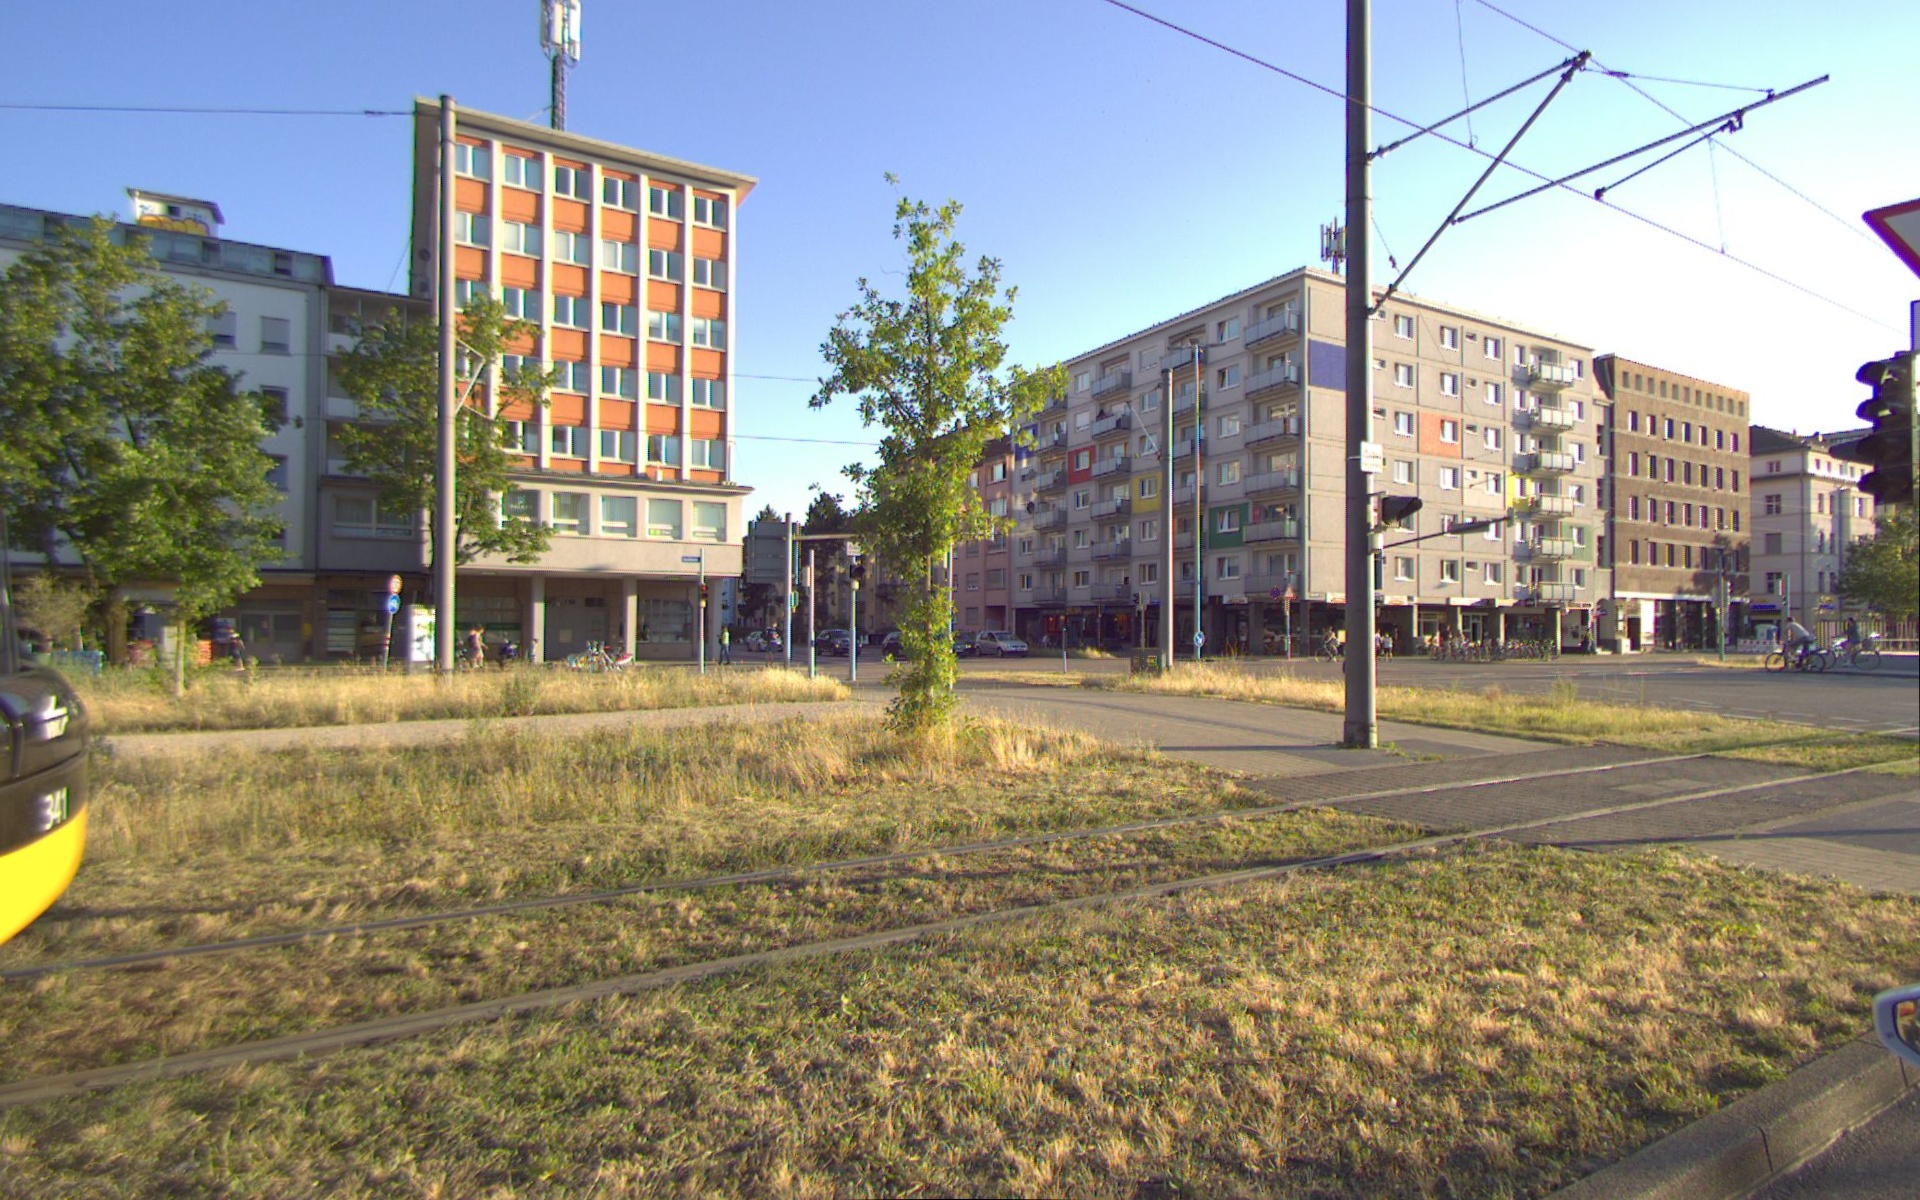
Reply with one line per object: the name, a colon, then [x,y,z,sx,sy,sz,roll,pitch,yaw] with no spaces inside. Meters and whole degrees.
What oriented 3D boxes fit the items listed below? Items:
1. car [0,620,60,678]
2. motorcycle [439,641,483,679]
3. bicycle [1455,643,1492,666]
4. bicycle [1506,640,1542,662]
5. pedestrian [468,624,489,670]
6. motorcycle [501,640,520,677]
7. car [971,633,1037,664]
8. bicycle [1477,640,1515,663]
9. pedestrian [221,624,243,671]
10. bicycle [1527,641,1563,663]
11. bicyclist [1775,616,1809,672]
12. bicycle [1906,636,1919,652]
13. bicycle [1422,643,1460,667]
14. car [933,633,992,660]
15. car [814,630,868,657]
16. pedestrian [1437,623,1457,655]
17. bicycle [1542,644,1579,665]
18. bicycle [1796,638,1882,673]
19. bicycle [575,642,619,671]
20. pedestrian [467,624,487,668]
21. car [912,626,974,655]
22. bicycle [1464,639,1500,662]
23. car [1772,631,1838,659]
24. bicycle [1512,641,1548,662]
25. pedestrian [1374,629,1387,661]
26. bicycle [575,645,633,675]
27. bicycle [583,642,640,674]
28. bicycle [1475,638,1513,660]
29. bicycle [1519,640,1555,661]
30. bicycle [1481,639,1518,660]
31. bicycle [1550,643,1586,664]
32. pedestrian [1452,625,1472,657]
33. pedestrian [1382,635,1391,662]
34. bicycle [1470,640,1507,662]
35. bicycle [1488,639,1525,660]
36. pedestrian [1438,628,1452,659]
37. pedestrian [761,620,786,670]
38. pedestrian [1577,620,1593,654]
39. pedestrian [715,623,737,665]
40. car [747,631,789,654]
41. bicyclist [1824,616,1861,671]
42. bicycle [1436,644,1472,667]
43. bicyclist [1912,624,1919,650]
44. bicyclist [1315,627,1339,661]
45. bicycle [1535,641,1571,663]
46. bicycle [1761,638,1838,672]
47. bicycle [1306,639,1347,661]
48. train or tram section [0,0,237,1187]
car: [-30.076,1.444,30.251,3.927,1.706,1.997,1,-1,-9]
motorcycle: [-17.811,2.134,35.880,1.373,1.335,0.378,1,-1,-28]
bicycle: [27.645,2.933,54.138,0.592,1.154,1.749,1,-1,-29]
bicycle: [31.557,2.845,56.246,0.545,1.132,1.747,1,-1,-29]
pedestrian: [-19.392,1.880,40.472,0.696,1.816,0.590,1,-1,-30]
motorcycle: [-16.968,2.179,37.912,0.538,1.335,1.823,1,-1,-27]
car: [2.378,2.634,55.490,1.974,1.506,3.974,1,0,-26]
bicycle: [29.274,2.800,54.918,0.644,1.206,1.780,1,-2,-30]
pedestrian: [-28.122,1.845,38.806,0.623,1.792,0.593,1,-1,-30]
bicycle: [33.237,2.945,57.090,0.696,1.168,1.684,1,-1,-27]
bicyclist: [27.780,1.446,33.545,0.641,1.842,0.786,1,-2,-42]
bicycle: [77.608,3.564,81.249,2.382,1.217,0.809,1,-2,-28]
bicycle: [25.827,2.944,53.958,0.631,1.224,1.786,1,-2,-30]
car: [0.094,2.739,59.452,1.974,1.505,3.974,1,-2,-26]
car: [-7.311,2.625,61.467,1.975,1.551,3.971,1,-1,-28]
pedestrian: [28.992,2.331,59.809,0.715,1.837,0.819,1,1,-40]
bicycle: [34.567,3.135,57.821,0.739,1.185,1.684,1,-1,-28]
bicycle: [29.825,1.858,34.127,0.534,1.098,2.147,2,-1,-38]
bicycle: [-13.983,2.161,38.666,1.543,1.089,0.392,1,-1,-31]
pedestrian: [-19.723,1.878,41.028,0.690,1.774,0.646,1,-1,-30]
car: [-0.972,2.224,55.895,1.974,1.505,3.974,1,-2,-26]
bicycle: [28.211,2.711,54.318,0.534,1.183,1.758,1,-1,-29]
car: [50.951,2.701,60.550,3.949,1.639,1.683,1,-3,-28]
bicycle: [32.062,2.879,56.529,0.561,1.134,1.753,1,-1,-29]
pedestrian: [21.534,2.298,51.441,0.563,1.641,0.602,0,-1,29]
bicycle: [-13.252,2.223,37.447,1.972,1.089,0.465,1,-1,-31]
bicycle: [-12.511,2.077,36.086,1.885,1.089,0.465,1,-1,-31]
bicycle: [29.668,2.723,55.823,0.632,1.176,1.823,1,-2,-29]
bicycle: [32.622,2.872,56.818,0.626,1.139,1.720,2,-2,-28]
bicycle: [30.184,2.758,56.201,0.598,1.174,1.768,1,-2,-29]
bicycle: [35.209,3.106,58.155,0.688,1.159,1.684,1,-1,-27]
pedestrian: [29.440,2.408,58.916,0.728,1.866,0.780,1,-2,-38]
pedestrian: [22.132,2.525,52.134,0.376,1.401,0.394,0,-1,32]
bicycle: [28.727,2.762,54.598,0.561,1.197,1.761,1,-1,-29]
bicycle: [30.747,2.795,56.536,0.598,1.151,1.763,1,-1,-29]
pedestrian: [26.830,2.382,55.543,0.543,1.706,0.573,1,-2,-45]
pedestrian: [-7.574,1.820,40.889,0.708,1.972,0.720,-1,-2,43]
pedestrian: [41.115,2.442,66.076,0.783,2.207,0.599,1,-1,-30]
pedestrian: [-10.646,1.997,45.656,0.879,1.855,0.885,1,-1,-20]
car: [-14.053,3.097,73.403,1.975,1.551,3.971,1,-2,-28]
bicyclist: [29.904,1.459,34.041,0.533,1.842,0.869,1,-1,-39]
bicycle: [26.746,3.004,54.410,0.601,1.157,1.768,1,-2,-29]
bicyclist: [77.830,2.991,81.357,0.912,2.040,0.794,1,-1,-28]
bicyclist: [15.904,1.894,43.531,0.841,1.445,0.501,0,-1,-2]
bicycle: [33.906,2.952,57.438,0.739,1.194,1.684,1,-1,-28]
bicycle: [27.909,1.817,33.413,0.628,1.089,1.883,1,-2,-42]
bicycle: [15.876,2.161,43.524,1.635,0.957,0.509,0,-1,-2]
train or tram section: [-8.736,-0.438,0.681,13.064,3.788,2.895,1,-1,-31]
